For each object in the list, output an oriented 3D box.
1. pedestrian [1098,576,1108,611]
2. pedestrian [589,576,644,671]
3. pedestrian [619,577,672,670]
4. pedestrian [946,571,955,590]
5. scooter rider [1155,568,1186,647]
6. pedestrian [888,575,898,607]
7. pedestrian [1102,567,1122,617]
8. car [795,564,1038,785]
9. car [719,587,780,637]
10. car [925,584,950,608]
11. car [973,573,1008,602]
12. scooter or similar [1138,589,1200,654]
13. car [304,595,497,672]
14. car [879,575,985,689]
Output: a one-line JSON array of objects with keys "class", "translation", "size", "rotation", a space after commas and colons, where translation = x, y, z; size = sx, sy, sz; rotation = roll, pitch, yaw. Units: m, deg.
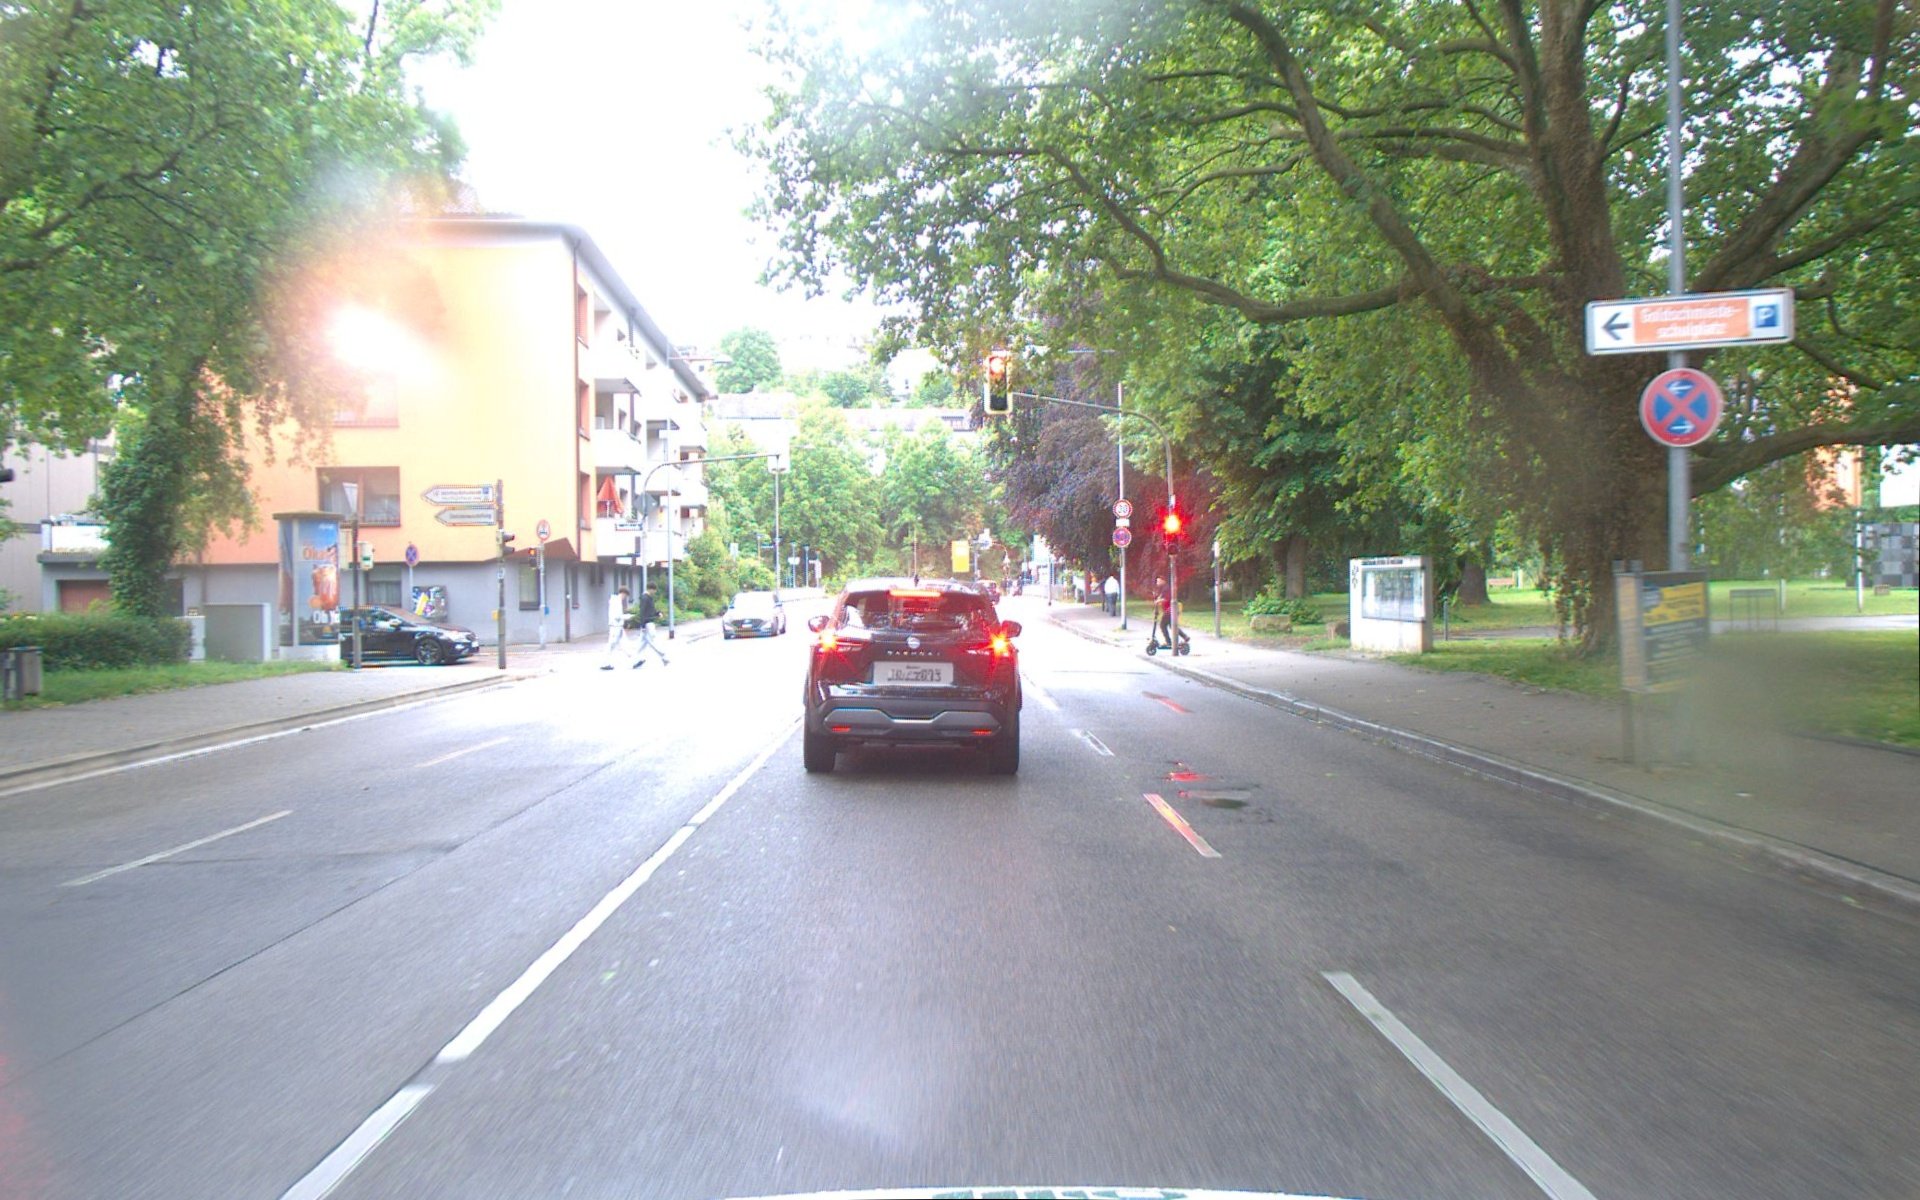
[{"class": "pedestrian", "translation": [6.333, -0.286, 73.177], "size": [0.382, 1.528, 0.559], "rotation": [-1, 0, -1]}, {"class": "pedestrian", "translation": [-7.076, 0.477, 34.078], "size": [1.017, 1.908, 0.656], "rotation": [-2, 0, -12]}, {"class": "pedestrian", "translation": [-6.639, 0.491, 34.936], "size": [1.017, 1.908, 0.656], "rotation": [-2, 0, -12]}, {"class": "pedestrian", "translation": [-0.859, -1.766, 148.983], "size": [0.498, 1.702, 0.658], "rotation": [-1, 0, 27]}, {"class": "scooter rider", "translation": [4.844, 0.182, 38.012], "size": [0.629, 1.797, 0.736], "rotation": [-1, -1, 12]}, {"class": "pedestrian", "translation": [-3.871, -0.542, 95.340], "size": [0.498, 1.833, 0.619], "rotation": [-1, 0, -1]}, {"class": "pedestrian", "translation": [6.359, -0.338, 69.259], "size": [0.710, 2.049, 0.851], "rotation": [-1, 0, -1]}, {"class": "car", "translation": [-0.369, 0.571, 14.956], "size": [1.874, 1.709, 3.999], "rotation": [1, 0, -1]}, {"class": "car", "translation": [-6.933, 0.377, 54.694], "size": [1.760, 1.560, 3.864], "rotation": [-2, 0, -5]}, {"class": "car", "translation": [-1.545, -0.305, 112.668], "size": [1.601, 1.559, 3.967], "rotation": [-1, 1, -1]}, {"class": "car", "translation": [1.972, -0.794, 105.889], "size": [1.952, 1.765, 4.002], "rotation": [2, 0, 4]}, {"class": "scooter or similar", "translation": [4.822, 0.500, 38.111], "size": [1.364, 1.471, 0.818], "rotation": [-1, -1, 11]}, {"class": "car", "translation": [-13.325, 0.774, 39.579], "size": [4.047, 1.654, 1.848], "rotation": [-2, 0, -8]}, {"class": "car", "translation": [-0.480, 0.496, 28.386], "size": [1.664, 1.776, 3.640], "rotation": [-1, 0, -1]}]
